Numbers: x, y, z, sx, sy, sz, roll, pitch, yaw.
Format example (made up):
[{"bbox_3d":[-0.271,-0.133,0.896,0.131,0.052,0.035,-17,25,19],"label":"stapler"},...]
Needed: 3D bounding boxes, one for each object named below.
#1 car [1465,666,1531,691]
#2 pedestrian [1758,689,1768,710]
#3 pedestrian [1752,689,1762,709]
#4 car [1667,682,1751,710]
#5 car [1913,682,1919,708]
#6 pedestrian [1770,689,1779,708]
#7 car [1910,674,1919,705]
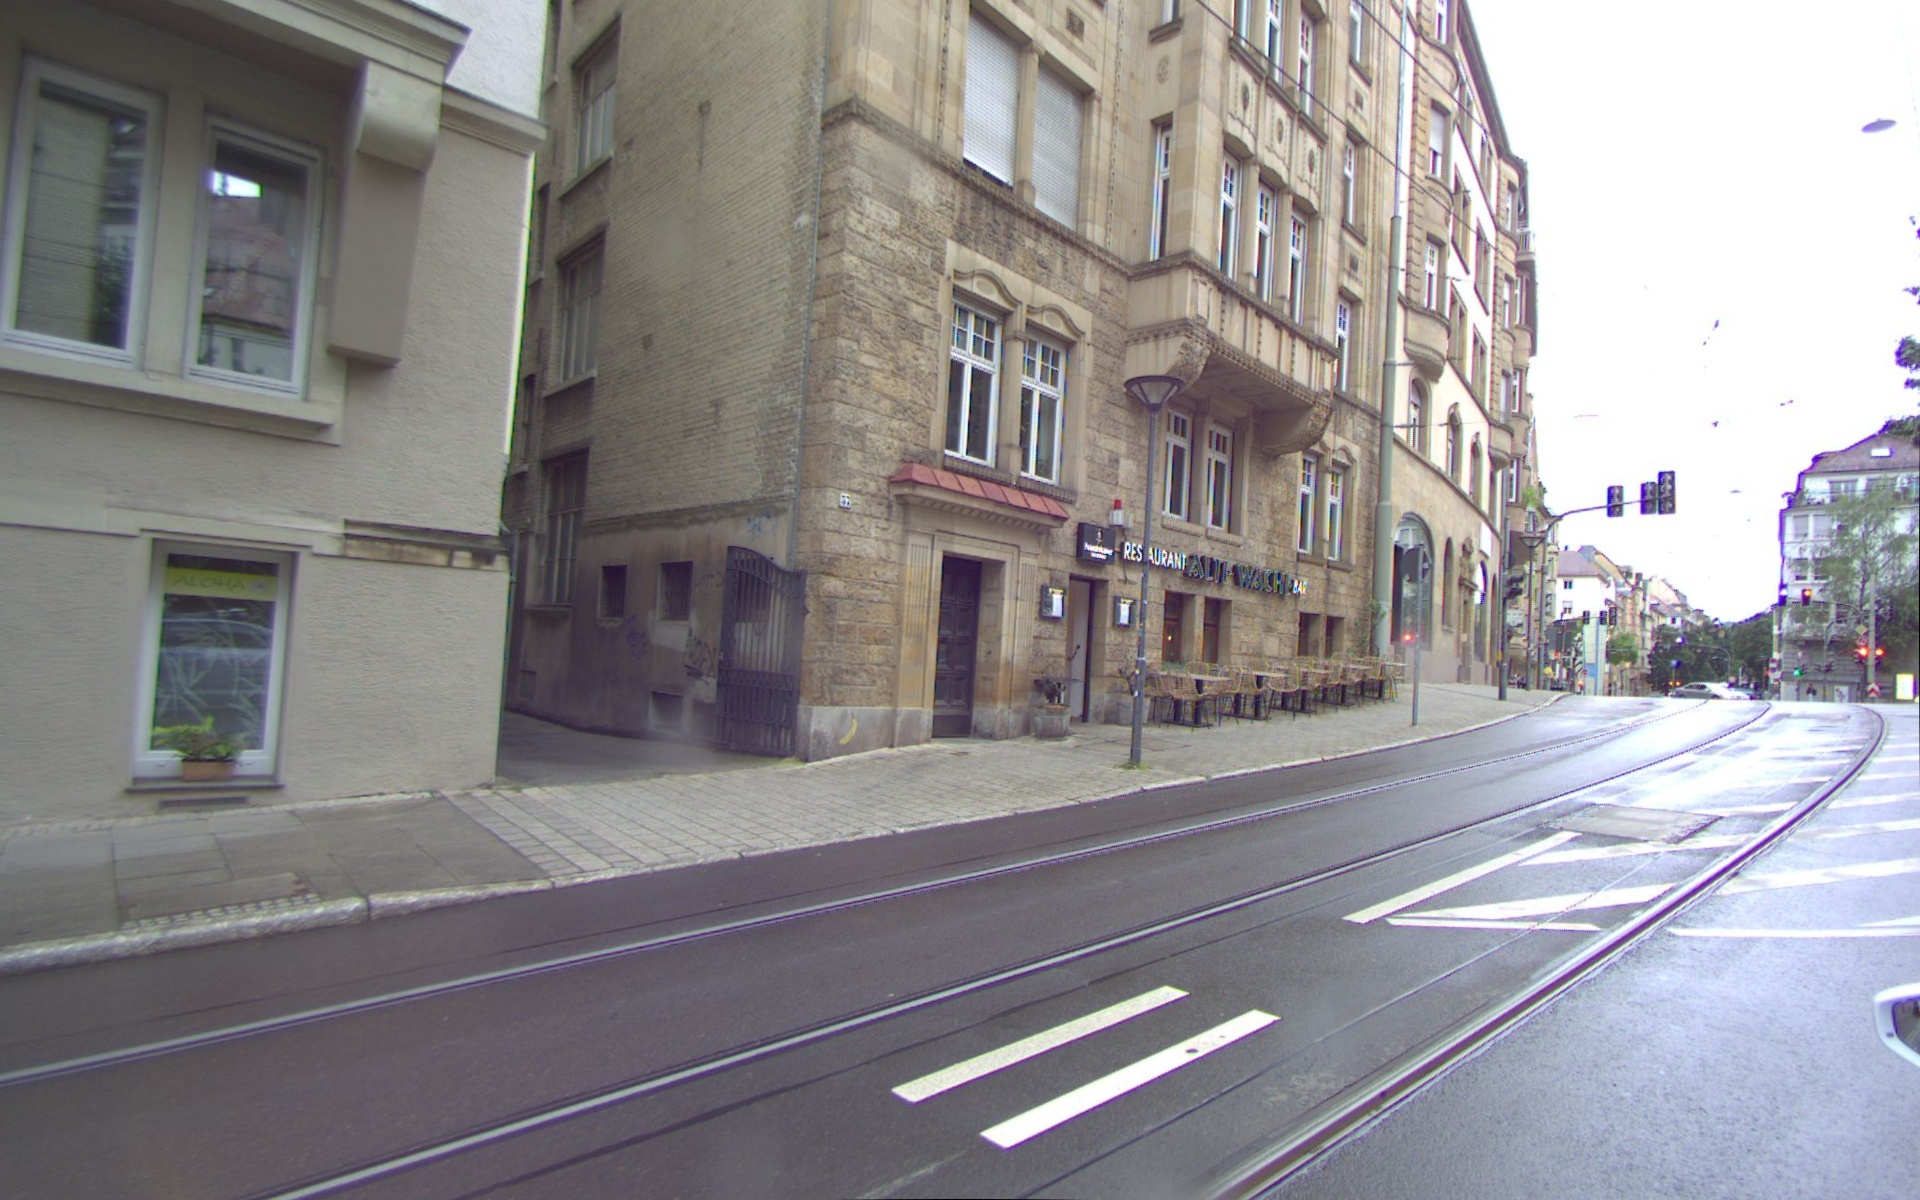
[{"bbox_3d":[37.709,5.483,70.445,3.932,1.530,1.795,-1,-2,33],"label":"car"},{"bbox_3d":[66.215,8.220,82.826,0.640,1.683,0.647,1,-1,40],"label":"pedestrian"},{"bbox_3d":[67.773,8.408,85.419,0.640,1.683,0.647,1,-1,40],"label":"pedestrian"},{"bbox_3d":[47.808,6.126,64.226,1.765,1.530,4.665,0,-2,-2],"label":"car"},{"bbox_3d":[61.523,5.905,62.160,3.930,1.635,1.796,1,-2,-12],"label":"car"},{"bbox_3d":[73.143,8.853,90.227,0.640,1.683,0.647,1,-1,40],"label":"pedestrian"},{"bbox_3d":[50.126,4.487,50.923,3.954,1.529,1.786,1,-4,-31],"label":"car"}]
